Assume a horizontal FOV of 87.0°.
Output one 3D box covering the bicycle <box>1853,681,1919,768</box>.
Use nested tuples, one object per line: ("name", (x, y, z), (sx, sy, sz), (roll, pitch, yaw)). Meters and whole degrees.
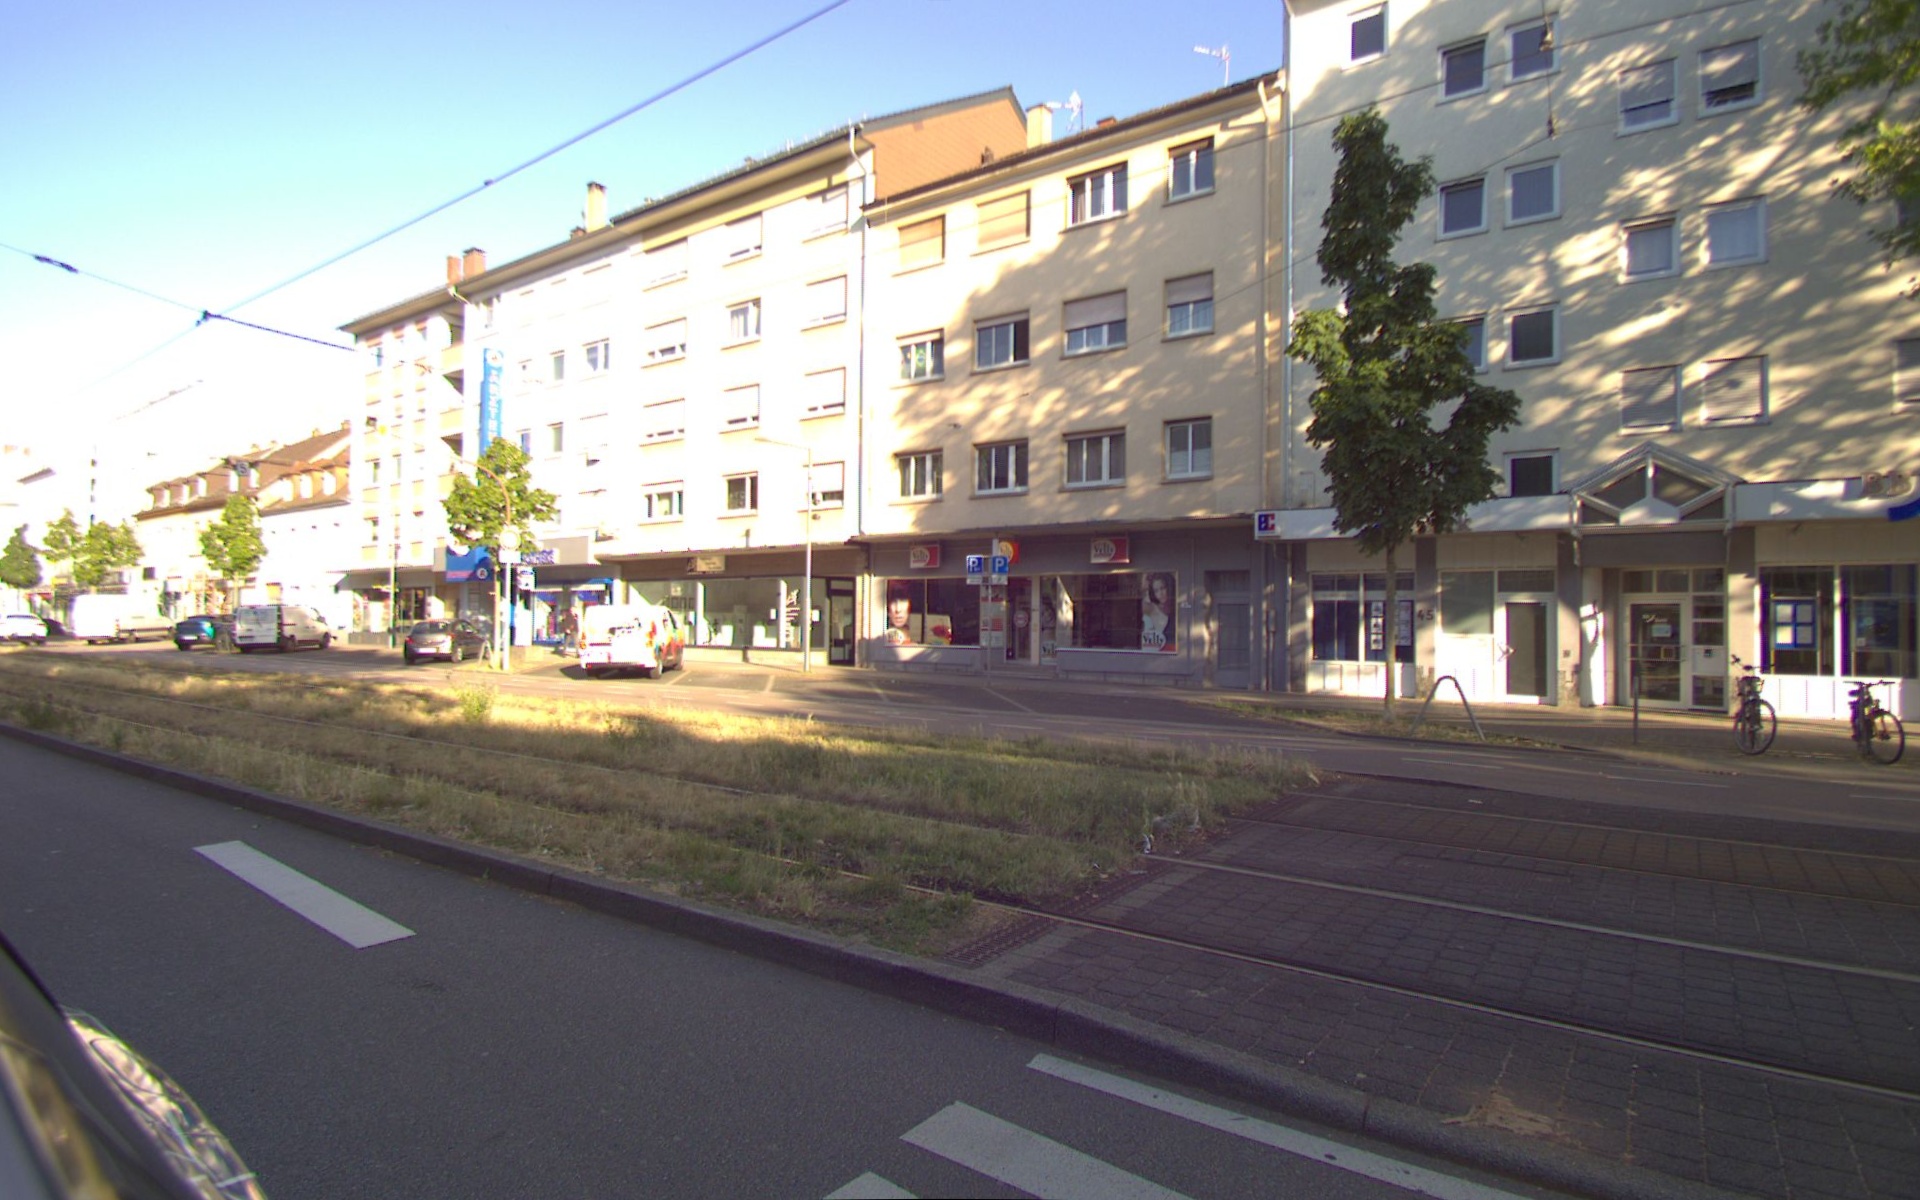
("bicycle", (11.361, 1.490, 12.395), (0.471, 0.895, 1.724), (-1, -1, 36))

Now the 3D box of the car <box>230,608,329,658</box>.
("car", (-28.609, 1.337, 42.733), (1.828, 1.952, 4.514), (0, 0, -10))

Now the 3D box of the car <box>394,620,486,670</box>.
("car", (-17.537, 1.472, 34.316), (1.708, 1.508, 4.009), (0, 0, -10))

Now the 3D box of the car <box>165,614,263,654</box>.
("car", (-34.283, 1.544, 46.649), (1.830, 1.727, 3.919), (0, 0, -5))

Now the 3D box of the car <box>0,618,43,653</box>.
("car", (-45.040, 1.637, 48.010), (4.450, 1.592, 1.821), (-1, -1, 42))

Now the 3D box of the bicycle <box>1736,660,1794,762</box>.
("bicycle", (10.303, 1.385, 12.984), (0.511, 1.147, 1.724), (-1, -1, 36))

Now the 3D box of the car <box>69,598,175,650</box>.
("car", (-45.437, 1.260, 55.072), (1.895, 2.634, 6.608), (0, 0, -16))

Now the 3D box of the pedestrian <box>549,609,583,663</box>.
("pedestrian", (-13.626, 1.247, 34.994), (0.916, 1.841, 0.748), (-1, -1, 38))

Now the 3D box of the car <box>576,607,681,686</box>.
("car", (-8.780, 1.168, 27.124), (1.830, 1.913, 4.005), (0, 0, -6))
